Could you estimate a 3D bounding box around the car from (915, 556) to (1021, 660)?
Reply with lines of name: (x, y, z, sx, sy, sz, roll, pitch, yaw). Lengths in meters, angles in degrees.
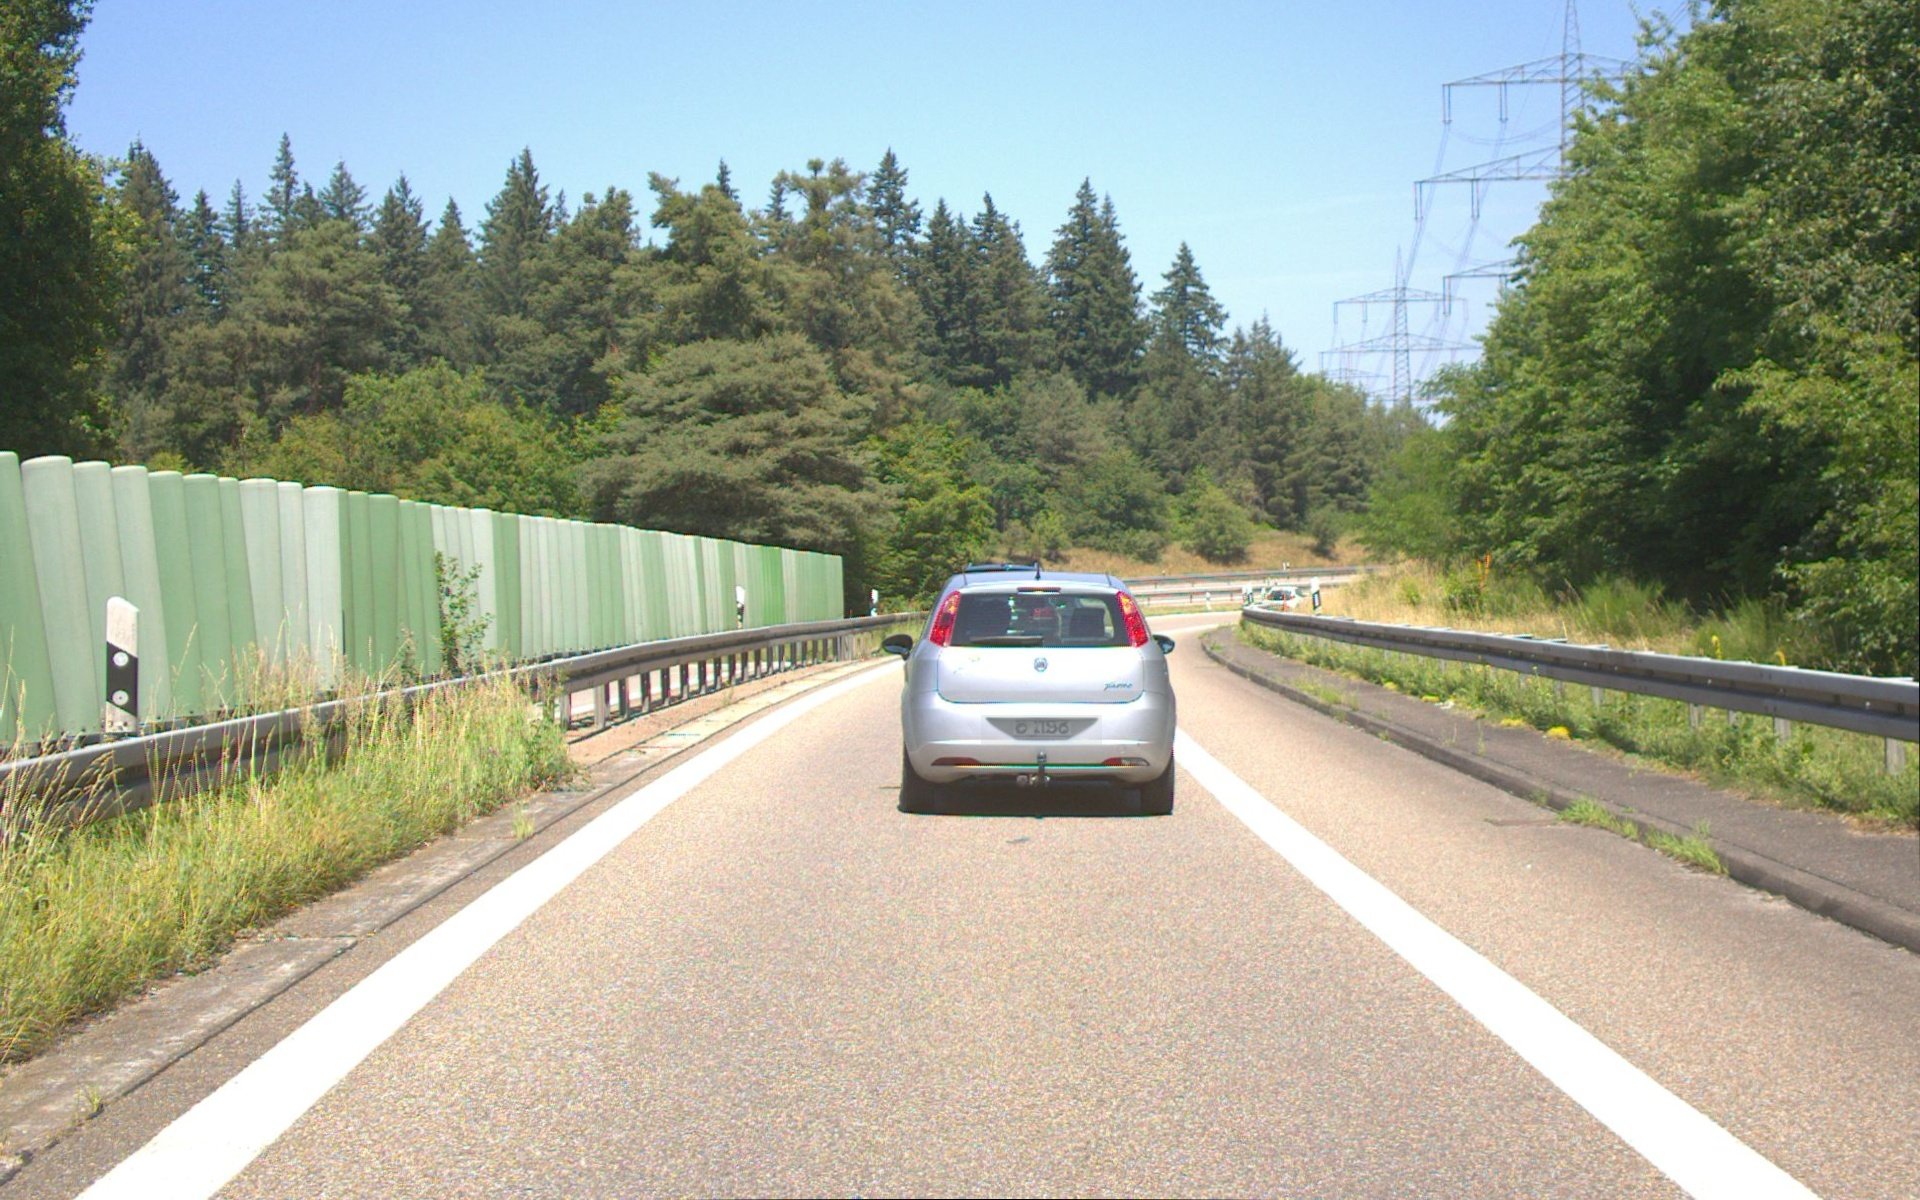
car: (0.144, 0.103, 57.461, 1.706, 1.670, 3.398, 0, 1, 1)

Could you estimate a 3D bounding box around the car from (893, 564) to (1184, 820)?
car: (0.545, 0.524, 21.920, 1.706, 1.476, 3.397, 0, 1, 3)

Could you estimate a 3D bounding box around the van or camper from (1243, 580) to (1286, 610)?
van or camper: (15.649, -0.279, 176.591, 1.808, 1.481, 3.998, 0, 1, 11)
